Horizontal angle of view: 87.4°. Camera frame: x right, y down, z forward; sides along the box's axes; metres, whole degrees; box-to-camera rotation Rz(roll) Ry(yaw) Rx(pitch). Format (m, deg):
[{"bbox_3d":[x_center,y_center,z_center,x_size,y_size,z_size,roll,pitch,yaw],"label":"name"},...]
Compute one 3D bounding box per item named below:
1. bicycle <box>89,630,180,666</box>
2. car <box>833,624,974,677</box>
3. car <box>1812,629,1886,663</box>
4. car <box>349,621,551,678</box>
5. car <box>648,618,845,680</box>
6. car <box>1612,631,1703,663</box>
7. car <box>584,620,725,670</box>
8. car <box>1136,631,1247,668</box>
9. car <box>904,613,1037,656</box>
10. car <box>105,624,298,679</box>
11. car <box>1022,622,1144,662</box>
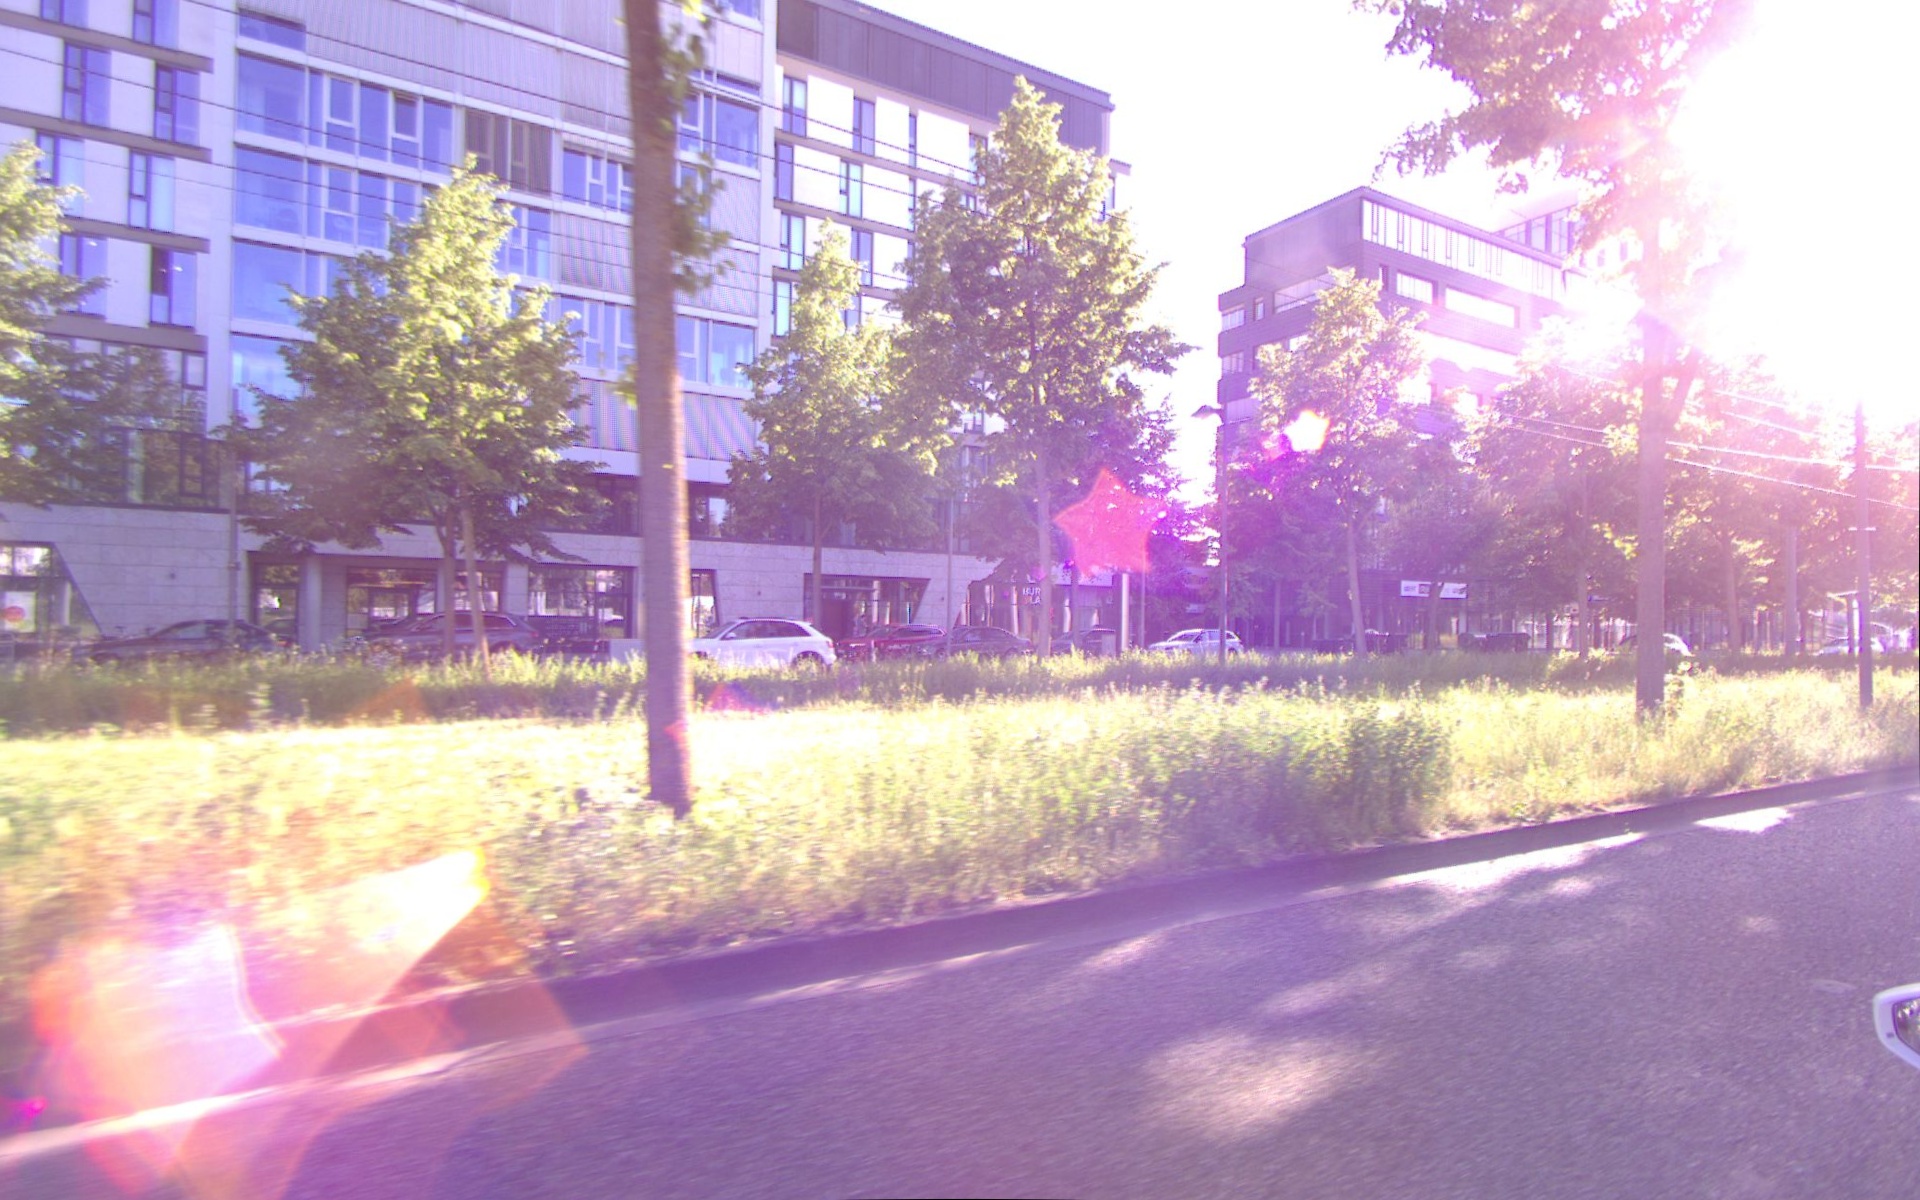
[{"bbox_3d":[-24.066,1.399,29.322,1.960,0.985,0.538,3,-2,-31],"label":"bicycle"},{"bbox_3d":[-2.087,1.846,37.684,5.070,1.801,1.788,1,0,-31],"label":"car"},{"bbox_3d":[48.202,2.456,54.449,4.271,1.711,1.788,1,0,-31],"label":"car"},{"bbox_3d":[-13.752,1.305,27.227,4.750,1.438,1.659,1,-1,-31],"label":"car"},{"bbox_3d":[-5.040,1.116,23.849,4.261,1.309,1.789,0,-2,-31],"label":"car"},{"bbox_3d":[30.359,2.037,43.730,3.954,1.280,1.789,2,-1,-31],"label":"car"},{"bbox_3d":[-9.070,1.310,29.840,3.710,1.372,1.724,2,-1,-31],"label":"car"},{"bbox_3d":[9.497,1.999,41.139,4.492,1.439,1.707,1,-1,-30],"label":"car"},{"bbox_3d":[0.399,1.212,35.729,4.492,1.439,1.707,2,-1,-30],"label":"car"},{"bbox_3d":[-18.262,1.226,24.402,3.542,1.223,1.659,2,-1,-31],"label":"car"},{"bbox_3d":[4.732,1.592,38.467,4.489,1.439,1.708,1,-1,-29],"label":"car"}]
